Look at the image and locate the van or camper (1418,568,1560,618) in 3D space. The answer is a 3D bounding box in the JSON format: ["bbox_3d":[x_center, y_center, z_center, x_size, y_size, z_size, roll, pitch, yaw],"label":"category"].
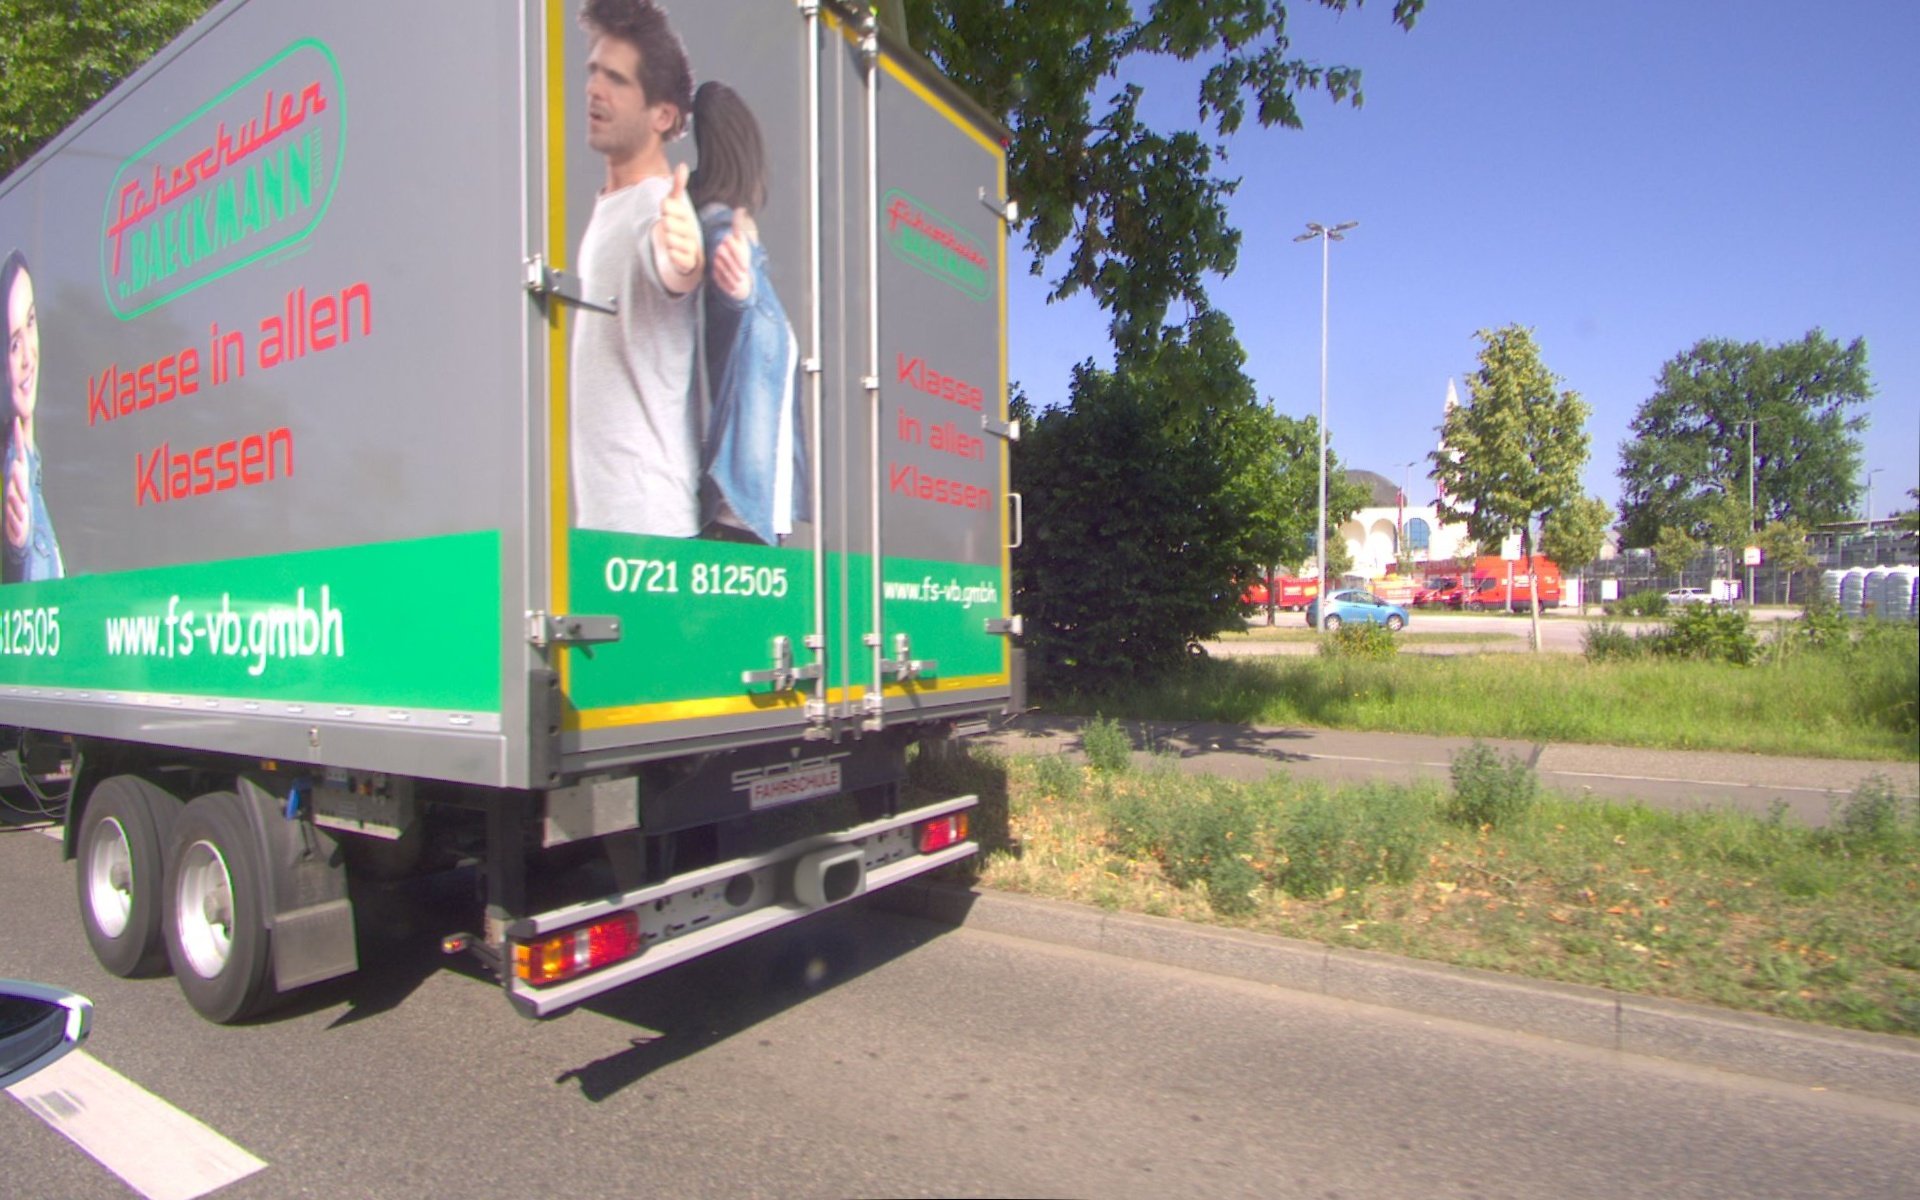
[{"bbox_3d":[30.493,-0.365,57.843,7.145,2.739,2.001,0,-2,-2],"label":"van or camper"}]

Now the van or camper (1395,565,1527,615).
[{"bbox_3d":[30.756,-0.603,61.594,7.145,2.979,2.001,0,-2,-2],"label":"van or camper"}]

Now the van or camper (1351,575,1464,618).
[{"bbox_3d":[31.713,-0.227,71.081,7.145,2.979,2.001,0,-2,-2],"label":"van or camper"}]

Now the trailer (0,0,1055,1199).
[{"bbox_3d":[-3.521,-0.390,5.423,7.630,3.927,2.729,-2,-1,34],"label":"trailer"}]

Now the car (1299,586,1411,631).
[{"bbox_3d":[14.225,0.322,36.138,3.419,1.552,1.544,0,-2,1],"label":"car"}]

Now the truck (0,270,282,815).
[{"bbox_3d":[-10.216,-0.296,10.047,8.606,3.940,2.722,-2,-1,35],"label":"truck"}]

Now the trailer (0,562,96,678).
[{"bbox_3d":[-31.463,0.577,30.383,2.858,3.668,12.671,0,-2,-16],"label":"trailer"}]
